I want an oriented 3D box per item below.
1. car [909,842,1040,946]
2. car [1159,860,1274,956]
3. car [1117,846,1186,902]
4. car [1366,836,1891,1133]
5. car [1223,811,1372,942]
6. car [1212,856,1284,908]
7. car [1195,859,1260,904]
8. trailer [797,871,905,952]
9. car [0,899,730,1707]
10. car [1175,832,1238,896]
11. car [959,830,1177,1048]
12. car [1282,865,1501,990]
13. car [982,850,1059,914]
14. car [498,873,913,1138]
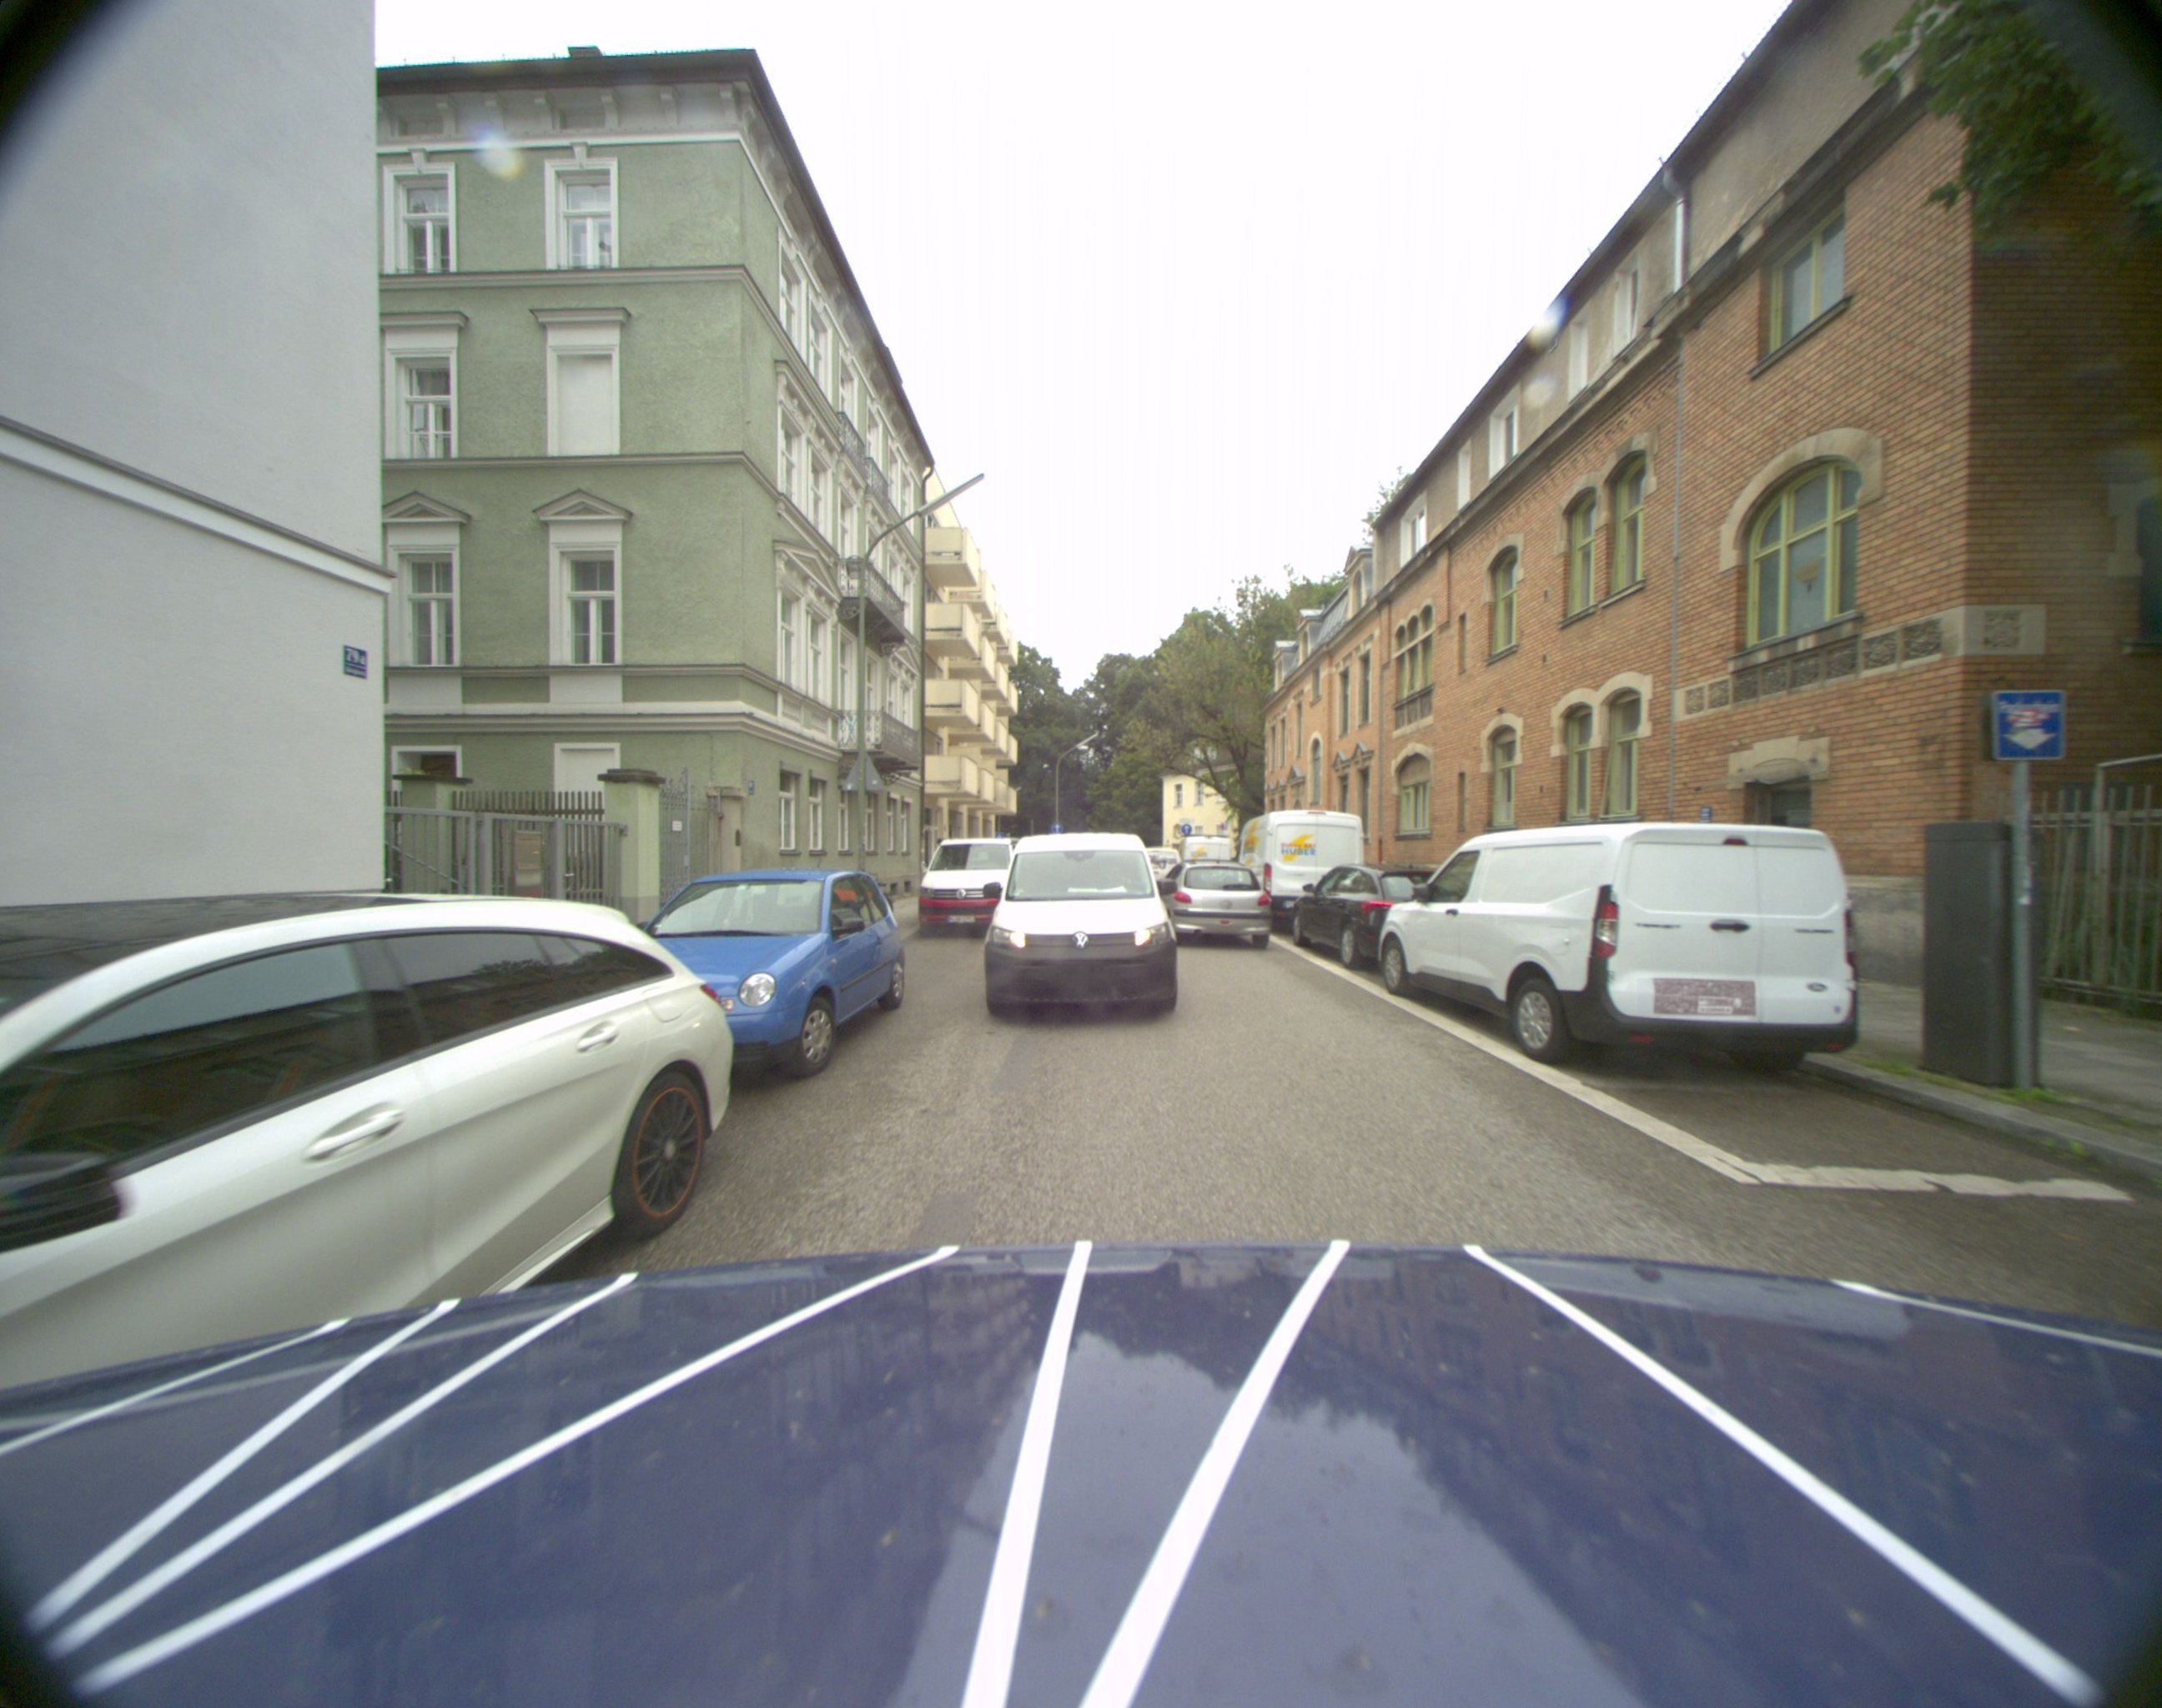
[{"bbox_3d":[-2.112,0.747,16.410,1.858,1.885,4.593,-2,0,3],"label":"car"},{"bbox_3d":[2.287,0.845,13.628,1.585,1.403,3.613,1,1,3],"label":"car"},{"bbox_3d":[2.367,0.620,26.643,1.776,1.793,4.570,0,0,-3],"label":"car"},{"bbox_3d":[4.166,0.804,6.786,1.694,1.793,4.145,2,0,1],"label":"car"},{"bbox_3d":[4.644,0.421,17.226,1.986,2.463,5.223,2,0,2],"label":"car"},{"bbox_3d":[5.061,0.798,23.411,1.526,1.434,3.541,2,0,2],"label":"car"},{"bbox_3d":[5.272,0.956,27.738,1.694,1.434,3.984,2,0,2],"label":"car"},{"bbox_3d":[-3.926,0.945,13.205,0.944,1.177,2.165,3,1,7],"label":"trailer"},{"bbox_3d":[-2.542,0.971,1.478,1.662,1.431,4.206,-2,0,1],"label":"car"},{"bbox_3d":[5.423,0.431,33.385,2.118,2.525,4.422,3,0,3],"label":"car"},{"bbox_3d":[0.001,0.675,8.162,1.775,1.761,4.001,0,0,3],"label":"car"},{"bbox_3d":[4.410,0.948,11.531,1.694,1.434,4.145,2,0,2],"label":"car"},{"bbox_3d":[-1.789,0.816,23.797,1.831,1.747,4.554,-2,0,2],"label":"car"},{"bbox_3d":[-2.632,0.954,6.320,1.623,1.404,3.553,-2,1,0],"label":"car"}]
